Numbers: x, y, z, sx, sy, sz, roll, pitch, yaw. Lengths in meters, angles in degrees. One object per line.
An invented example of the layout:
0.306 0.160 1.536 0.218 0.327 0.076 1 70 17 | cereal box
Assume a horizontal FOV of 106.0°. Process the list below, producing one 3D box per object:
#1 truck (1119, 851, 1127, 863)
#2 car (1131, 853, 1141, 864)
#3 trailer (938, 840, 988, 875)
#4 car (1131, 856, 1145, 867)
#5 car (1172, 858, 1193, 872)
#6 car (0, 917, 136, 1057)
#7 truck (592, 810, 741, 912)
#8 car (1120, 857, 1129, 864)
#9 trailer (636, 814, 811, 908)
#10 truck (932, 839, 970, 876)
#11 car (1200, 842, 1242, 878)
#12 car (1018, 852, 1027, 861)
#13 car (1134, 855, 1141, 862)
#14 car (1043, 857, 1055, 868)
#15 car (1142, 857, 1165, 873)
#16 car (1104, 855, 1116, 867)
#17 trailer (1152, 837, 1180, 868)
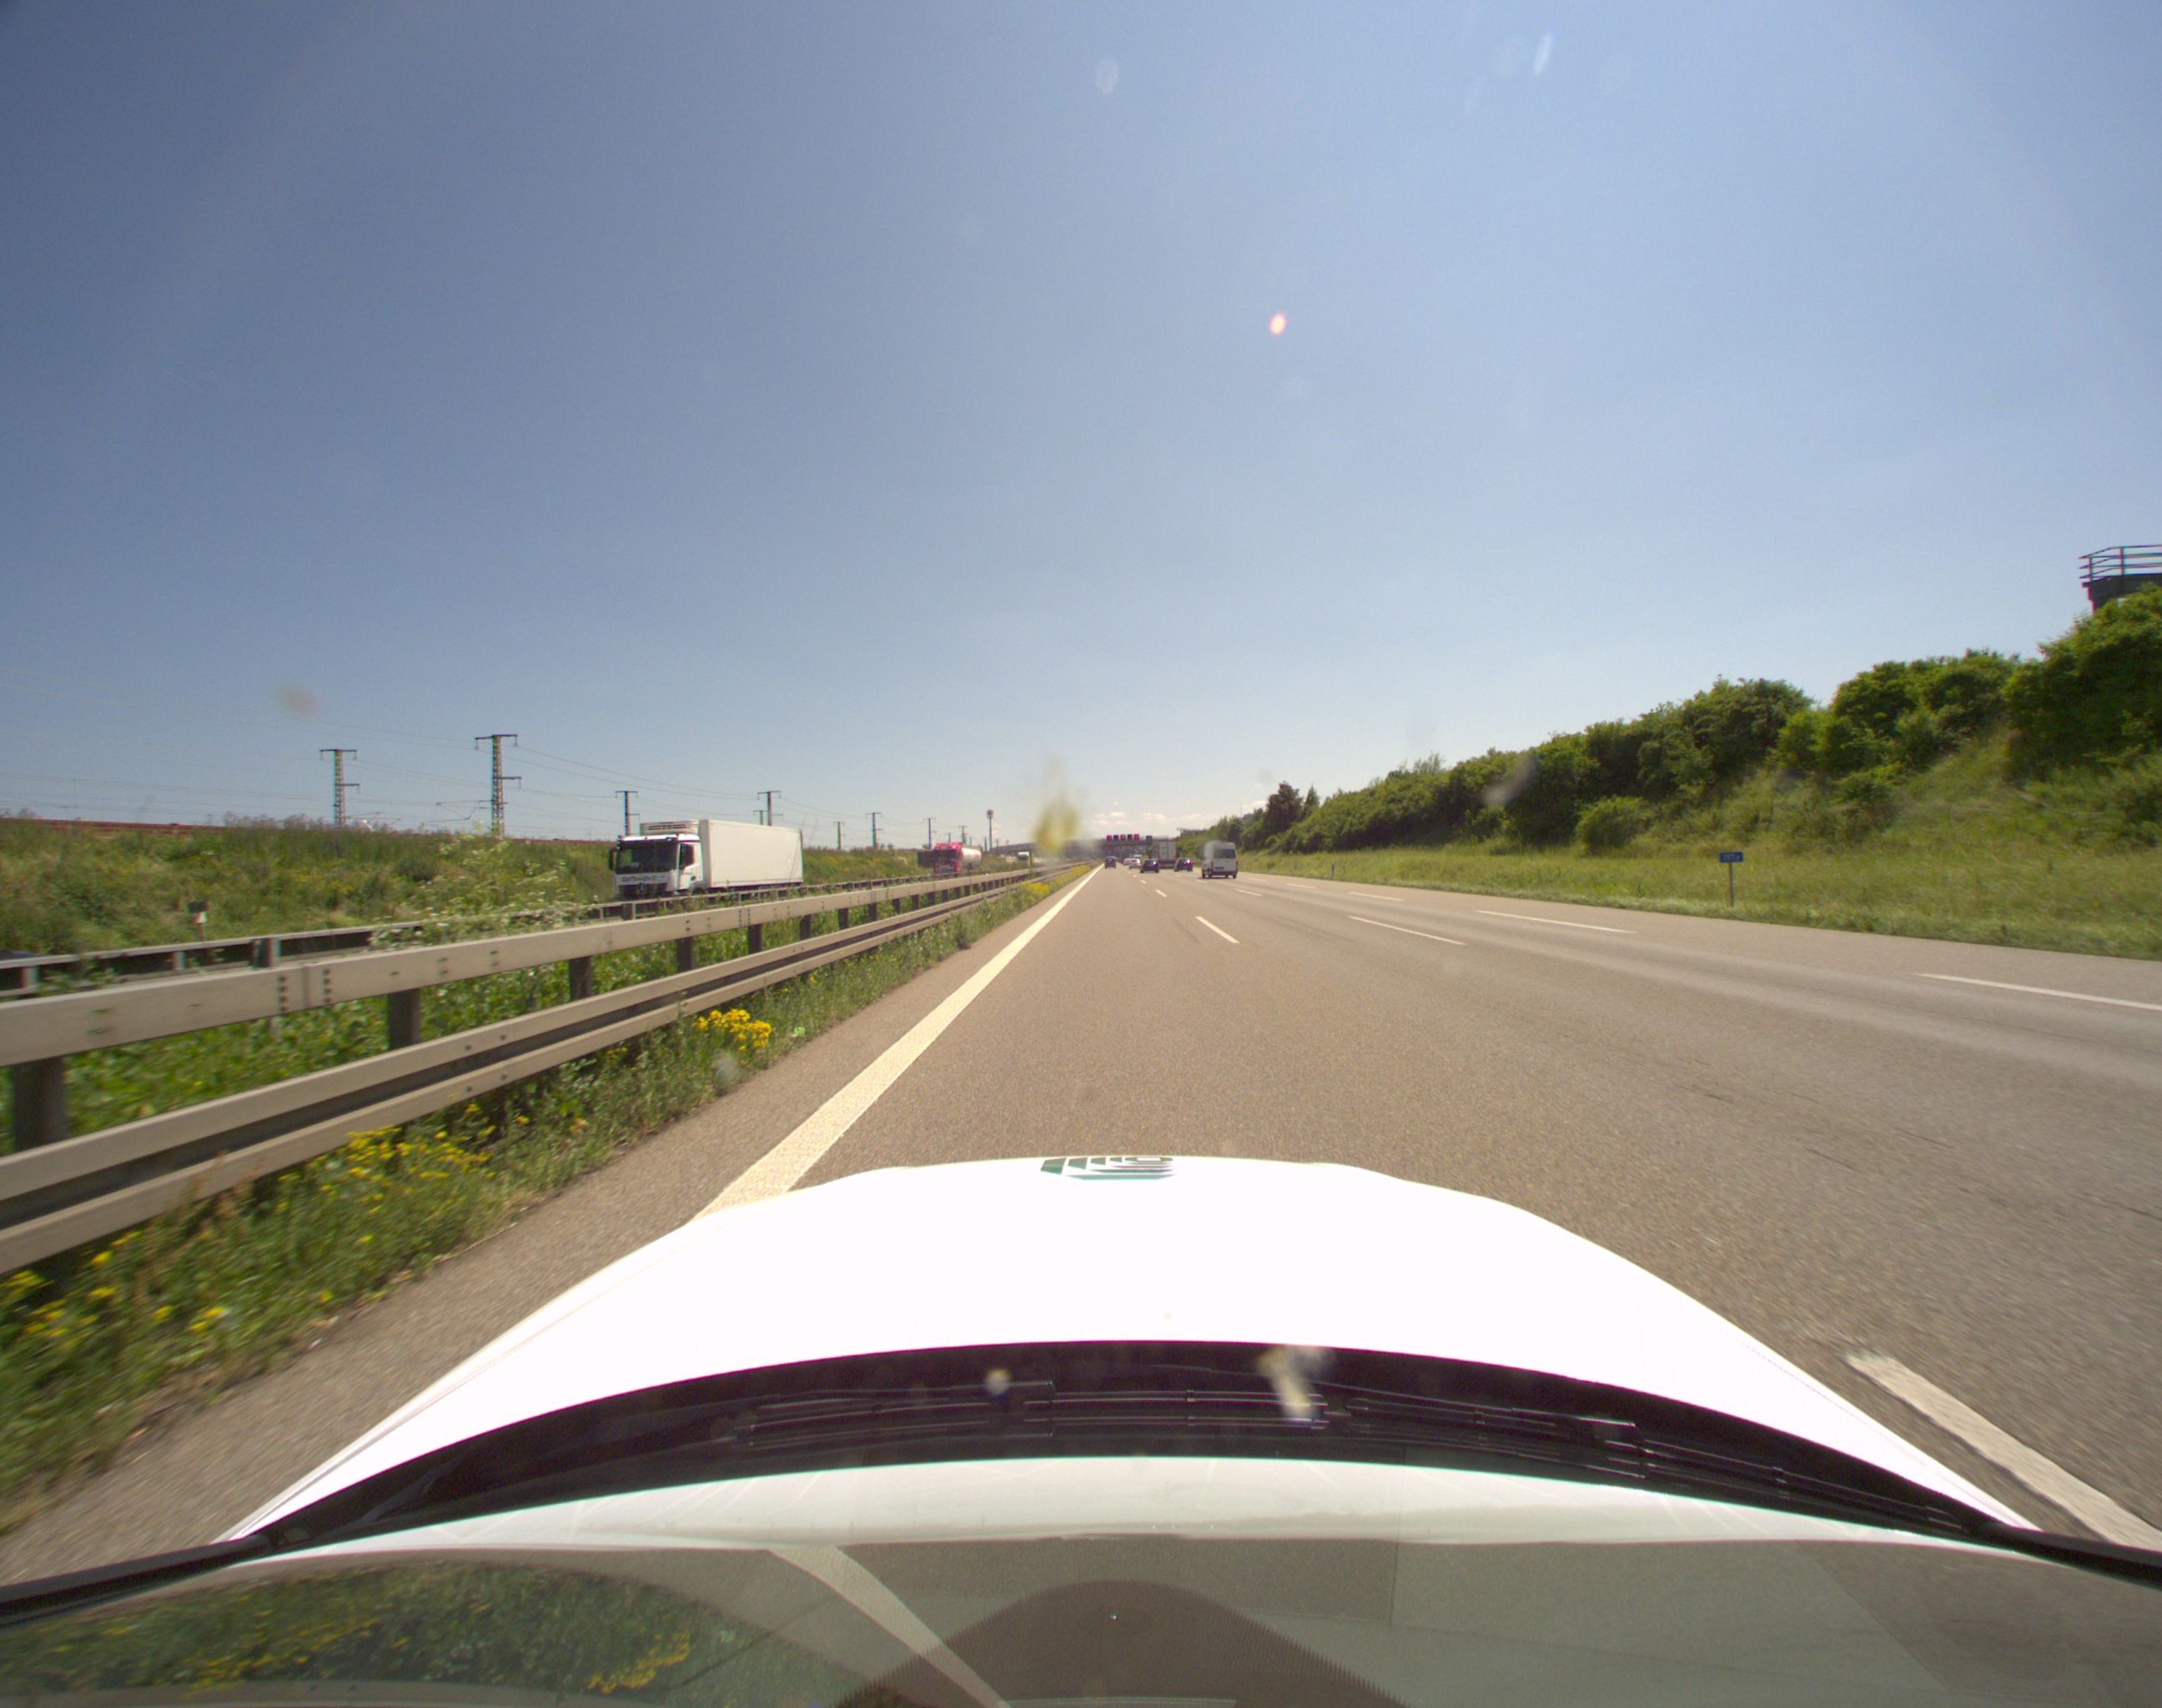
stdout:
11.758 0.828 228.303 2.346 3.416 6.060 -1 0 2 | truck
14.698 1.190 216.729 2.597 2.766 5.239 0 -2 2 | car
-12.549 0.412 88.139 2.776 3.521 13.848 0 0 2 | trailer
8.309 1.145 118.362 1.872 1.526 4.005 -1 -1 5 | car
11.438 1.258 91.805 1.986 1.596 4.001 0 -2 1 | car
-11.697 1.388 7.070 1.986 1.306 4.204 -2 0 1 | car
-14.698 0.246 29.285 2.777 3.388 4.716 0 -1 2 | truck
9.470 1.417 176.250 1.873 1.526 4.003 -1 -1 3 | car
-14.503 0.278 34.213 2.776 3.388 9.587 0 0 2 | trailer
-12.861 0.374 80.861 2.777 3.521 4.716 0 -1 2 | truck
10.216 0.416 59.953 2.266 2.528 5.400 -1 0 1 | car
-13.391 0.667 186.874 1.988 2.014 3.997 -1 0 -2 | car
16.808 1.318 240.659 1.985 2.013 4.441 -2 0 4 | car
-6.228 1.666 160.122 1.986 2.013 4.000 -2 0 1 | car
7.292 1.144 82.273 1.987 1.508 3.998 0 -2 0 | car
4.570 1.081 129.301 1.873 1.775 4.002 -2 -1 2 | car
12.051 -0.200 116.176 3.165 4.059 9.444 -2 0 2 | trailer
